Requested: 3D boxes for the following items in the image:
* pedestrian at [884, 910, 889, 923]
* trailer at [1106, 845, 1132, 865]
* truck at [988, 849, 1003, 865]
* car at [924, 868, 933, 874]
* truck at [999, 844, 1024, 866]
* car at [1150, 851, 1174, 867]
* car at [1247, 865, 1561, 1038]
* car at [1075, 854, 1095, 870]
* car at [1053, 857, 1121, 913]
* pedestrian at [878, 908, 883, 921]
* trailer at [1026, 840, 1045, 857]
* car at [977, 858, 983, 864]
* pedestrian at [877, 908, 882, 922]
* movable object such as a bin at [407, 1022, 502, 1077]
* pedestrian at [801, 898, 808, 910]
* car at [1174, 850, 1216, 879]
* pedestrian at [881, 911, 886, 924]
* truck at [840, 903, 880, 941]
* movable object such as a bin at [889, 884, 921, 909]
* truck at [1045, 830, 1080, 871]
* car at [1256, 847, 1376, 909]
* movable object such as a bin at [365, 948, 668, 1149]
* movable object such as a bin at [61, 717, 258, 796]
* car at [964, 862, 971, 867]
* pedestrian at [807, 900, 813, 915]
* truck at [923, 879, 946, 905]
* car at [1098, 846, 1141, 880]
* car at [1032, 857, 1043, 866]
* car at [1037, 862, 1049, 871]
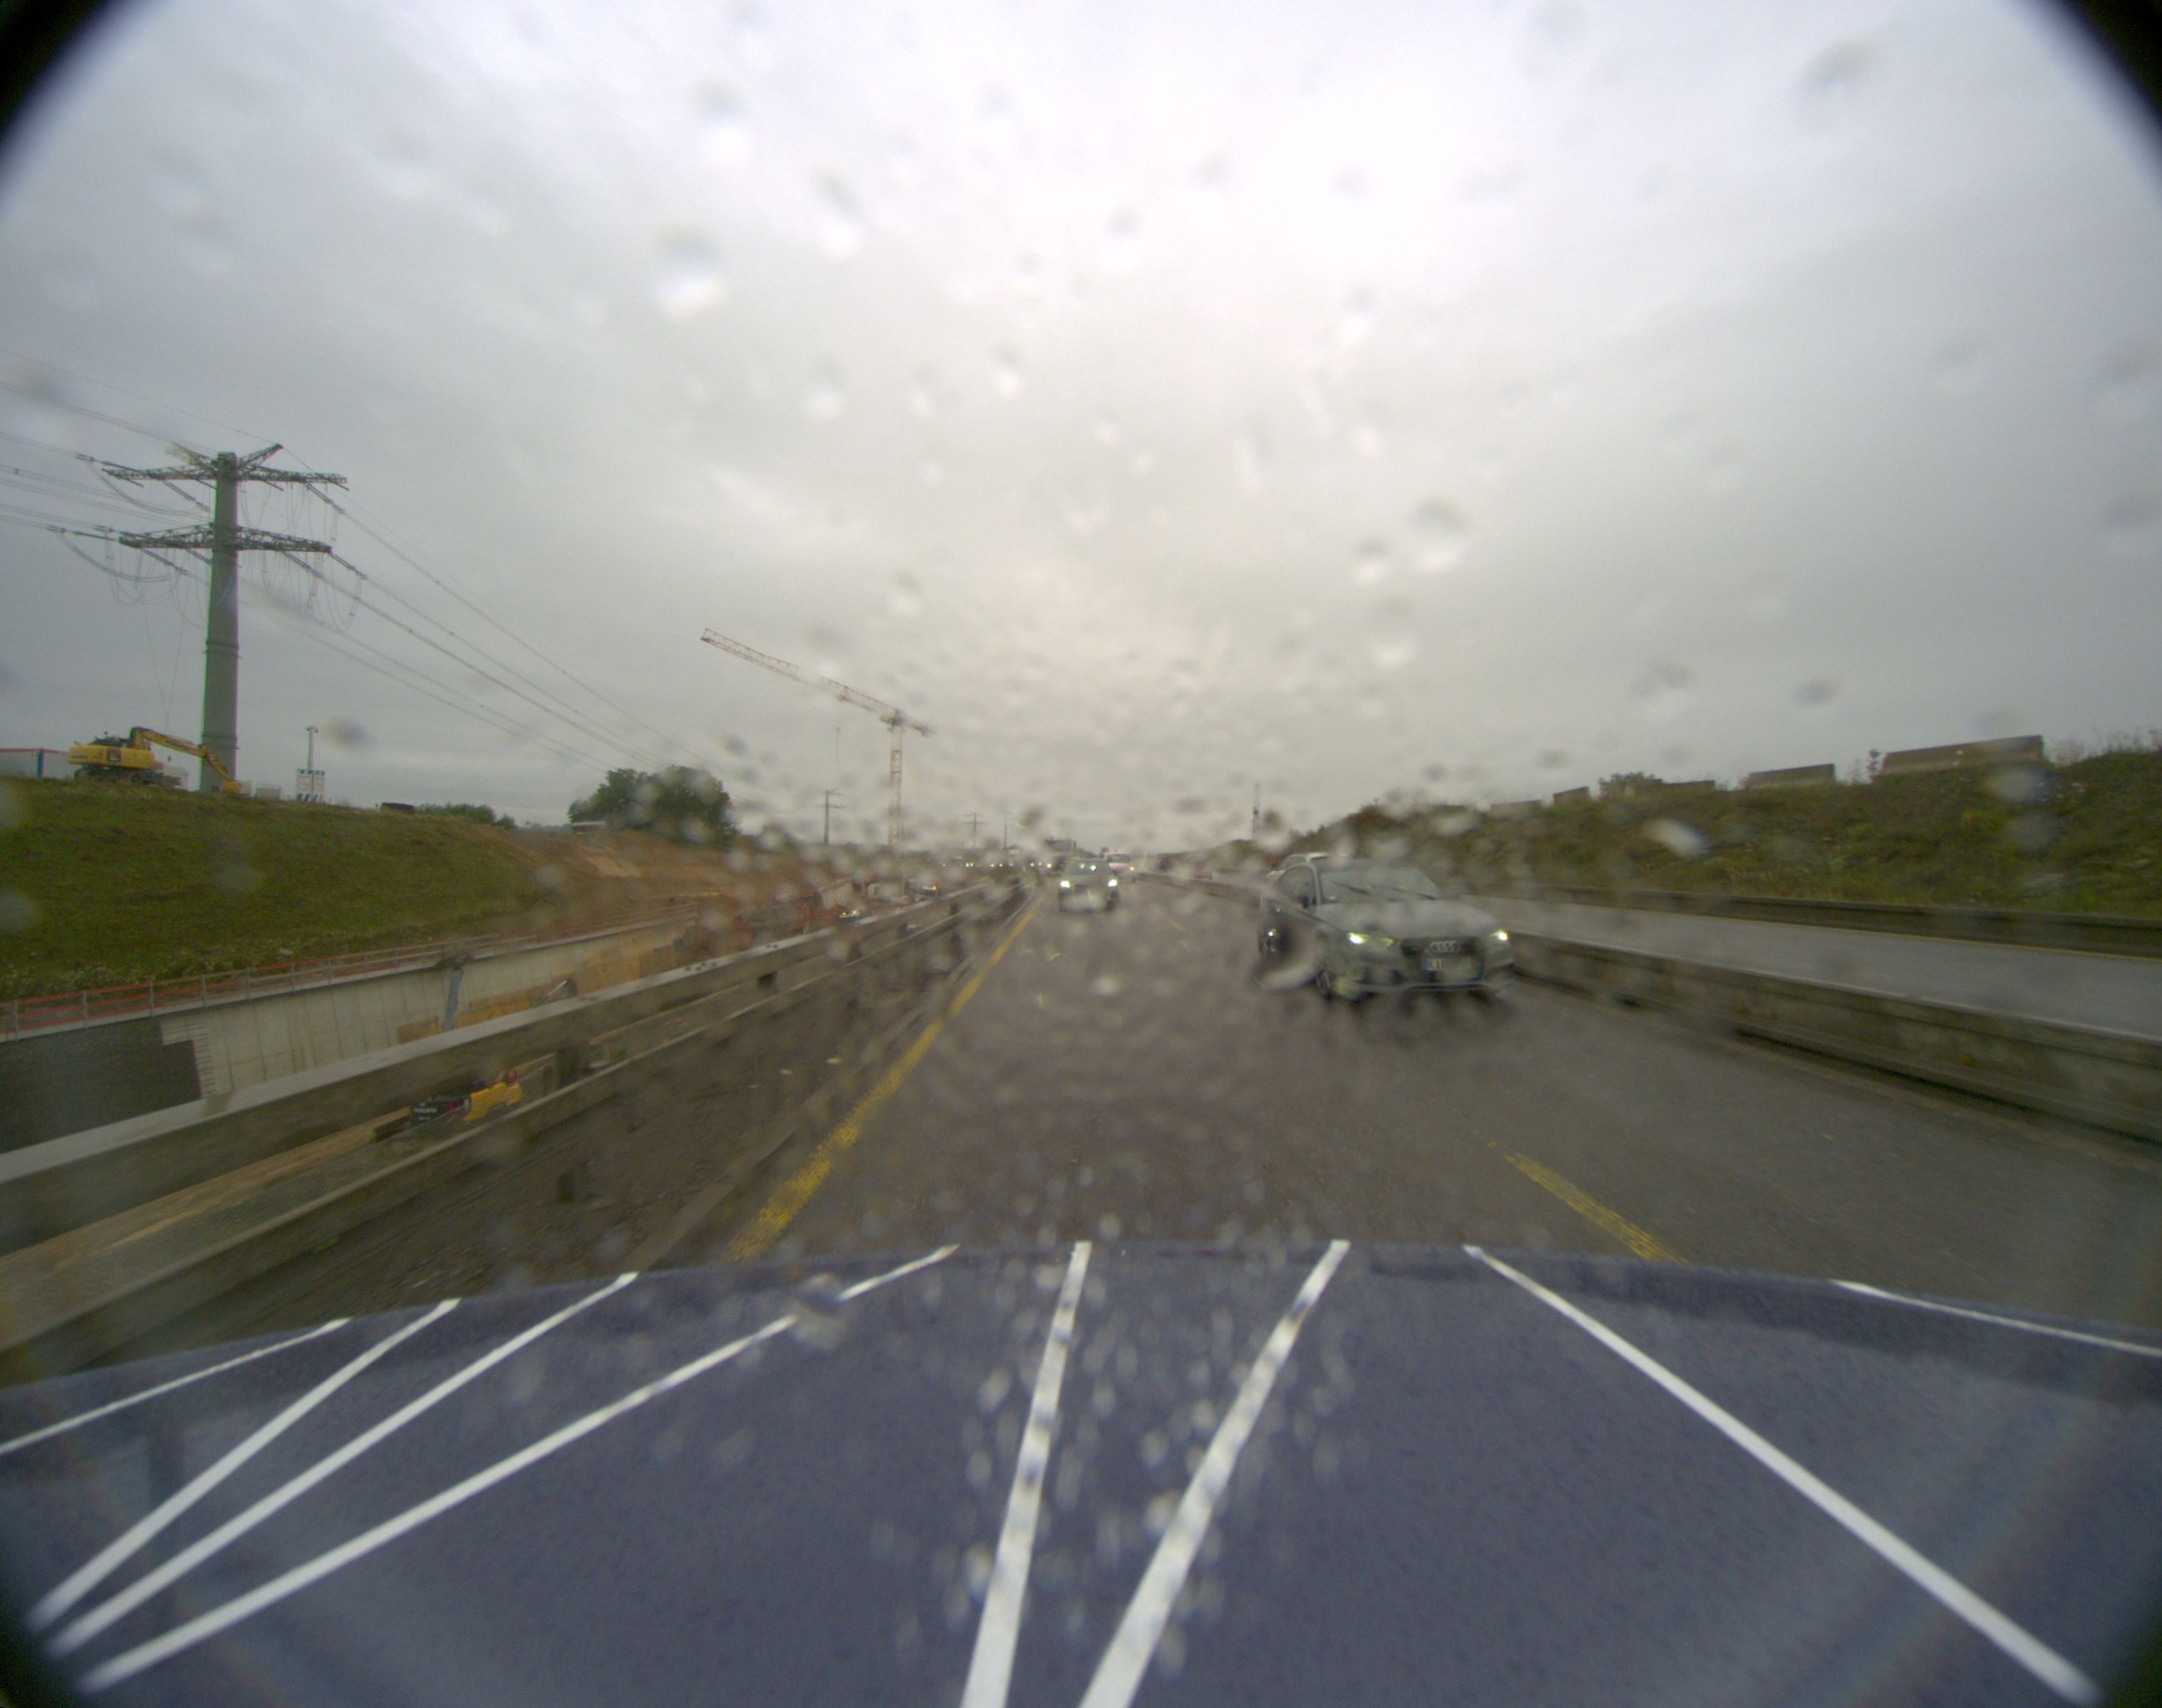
[{"bbox_3d":[-27.617,8.884,107.726,0.603,1.894,0.481,0,1,-7],"label":"pedestrian"},{"bbox_3d":[5.164,0.155,104.267,2.517,2.549,7.159,-3,0,-5],"label":"trailer"},{"bbox_3d":[-22.215,0.680,196.839,3.548,3.871,8.329,-3,0,-8],"label":"truck"},{"bbox_3d":[-47.266,5.349,235.612,2.352,1.609,4.855,-1,1,-8],"label":"car"},{"bbox_3d":[-14.523,0.186,157.796,4.320,4.319,13.398,-3,0,-7],"label":"truck"},{"bbox_3d":[7.769,0.431,73.188,1.773,1.435,4.671,-2,0,0],"label":"car"},{"bbox_3d":[3.303,0.893,8.747,1.805,1.375,4.087,-2,1,-1],"label":"car"},{"bbox_3d":[0.400,0.887,88.066,1.790,1.744,3.998,-3,0,-6],"label":"car"},{"bbox_3d":[0.145,0.870,23.403,1.874,1.481,4.260,-2,0,-1],"label":"car"},{"bbox_3d":[-28.064,8.501,106.270,0.603,1.759,0.481,2,1,-7],"label":"pedestrian"},{"bbox_3d":[-12.431,-1.335,206.005,3.005,4.395,15.687,-1,0,-11],"label":"trailer"},{"bbox_3d":[-29.588,2.058,222.835,1.790,1.418,3.997,-3,0,-7],"label":"car"},{"bbox_3d":[-28.697,8.683,107.964,0.603,1.894,0.481,1,1,-7],"label":"pedestrian"},{"bbox_3d":[-34.225,10.657,41.634,2.524,1.900,3.255,-4,1,-6],"label":"movable object such as a bin"},{"bbox_3d":[-40.285,7.290,110.832,0.488,1.794,0.583,-5,2,33],"label":"pedestrian"},{"bbox_3d":[6.640,0.573,44.410,1.732,1.568,3.720,-2,1,-2],"label":"car"},{"bbox_3d":[-27.832,8.931,106.955,0.603,1.894,0.614,0,1,-7],"label":"pedestrian"},{"bbox_3d":[-26.584,8.103,91.691,2.710,3.591,9.068,0,1,-4],"label":"truck"},{"bbox_3d":[-28.986,6.936,125.473,3.517,3.405,6.651,-2,2,2],"label":"movable object such as a bin"},{"bbox_3d":[-1.824,-0.352,71.410,2.857,3.462,8.640,-2,1,-4],"label":"truck"},{"bbox_3d":[6.979,0.640,23.169,2.051,1.623,4.988,-2,1,0],"label":"car"},{"bbox_3d":[-25.651,8.485,36.180,4.906,5.639,12.083,-4,3,0],"label":"movable object such as a bin"},{"bbox_3d":[-61.137,-6.318,50.852,3.107,4.182,8.178,-1,0,1],"label":"movable object such as a bin"},{"bbox_3d":[-34.786,3.103,232.772,1.791,1.418,3.995,-3,0,-14],"label":"car"},{"bbox_3d":[-40.082,7.940,112.529,0.489,2.088,0.481,-7,2,-7],"label":"pedestrian"},{"bbox_3d":[-25.391,6.529,132.008,3.363,3.521,8.898,-2,2,-8],"label":"truck"},{"bbox_3d":[2.348,0.511,47.610,2.070,1.933,5.154,-2,1,-3],"label":"car"},{"bbox_3d":[-8.586,1.546,149.694,1.791,1.646,3.996,-3,0,-10],"label":"car"},{"bbox_3d":[-6.782,2.217,135.752,1.790,1.418,3.997,-3,0,-7],"label":"car"}]
